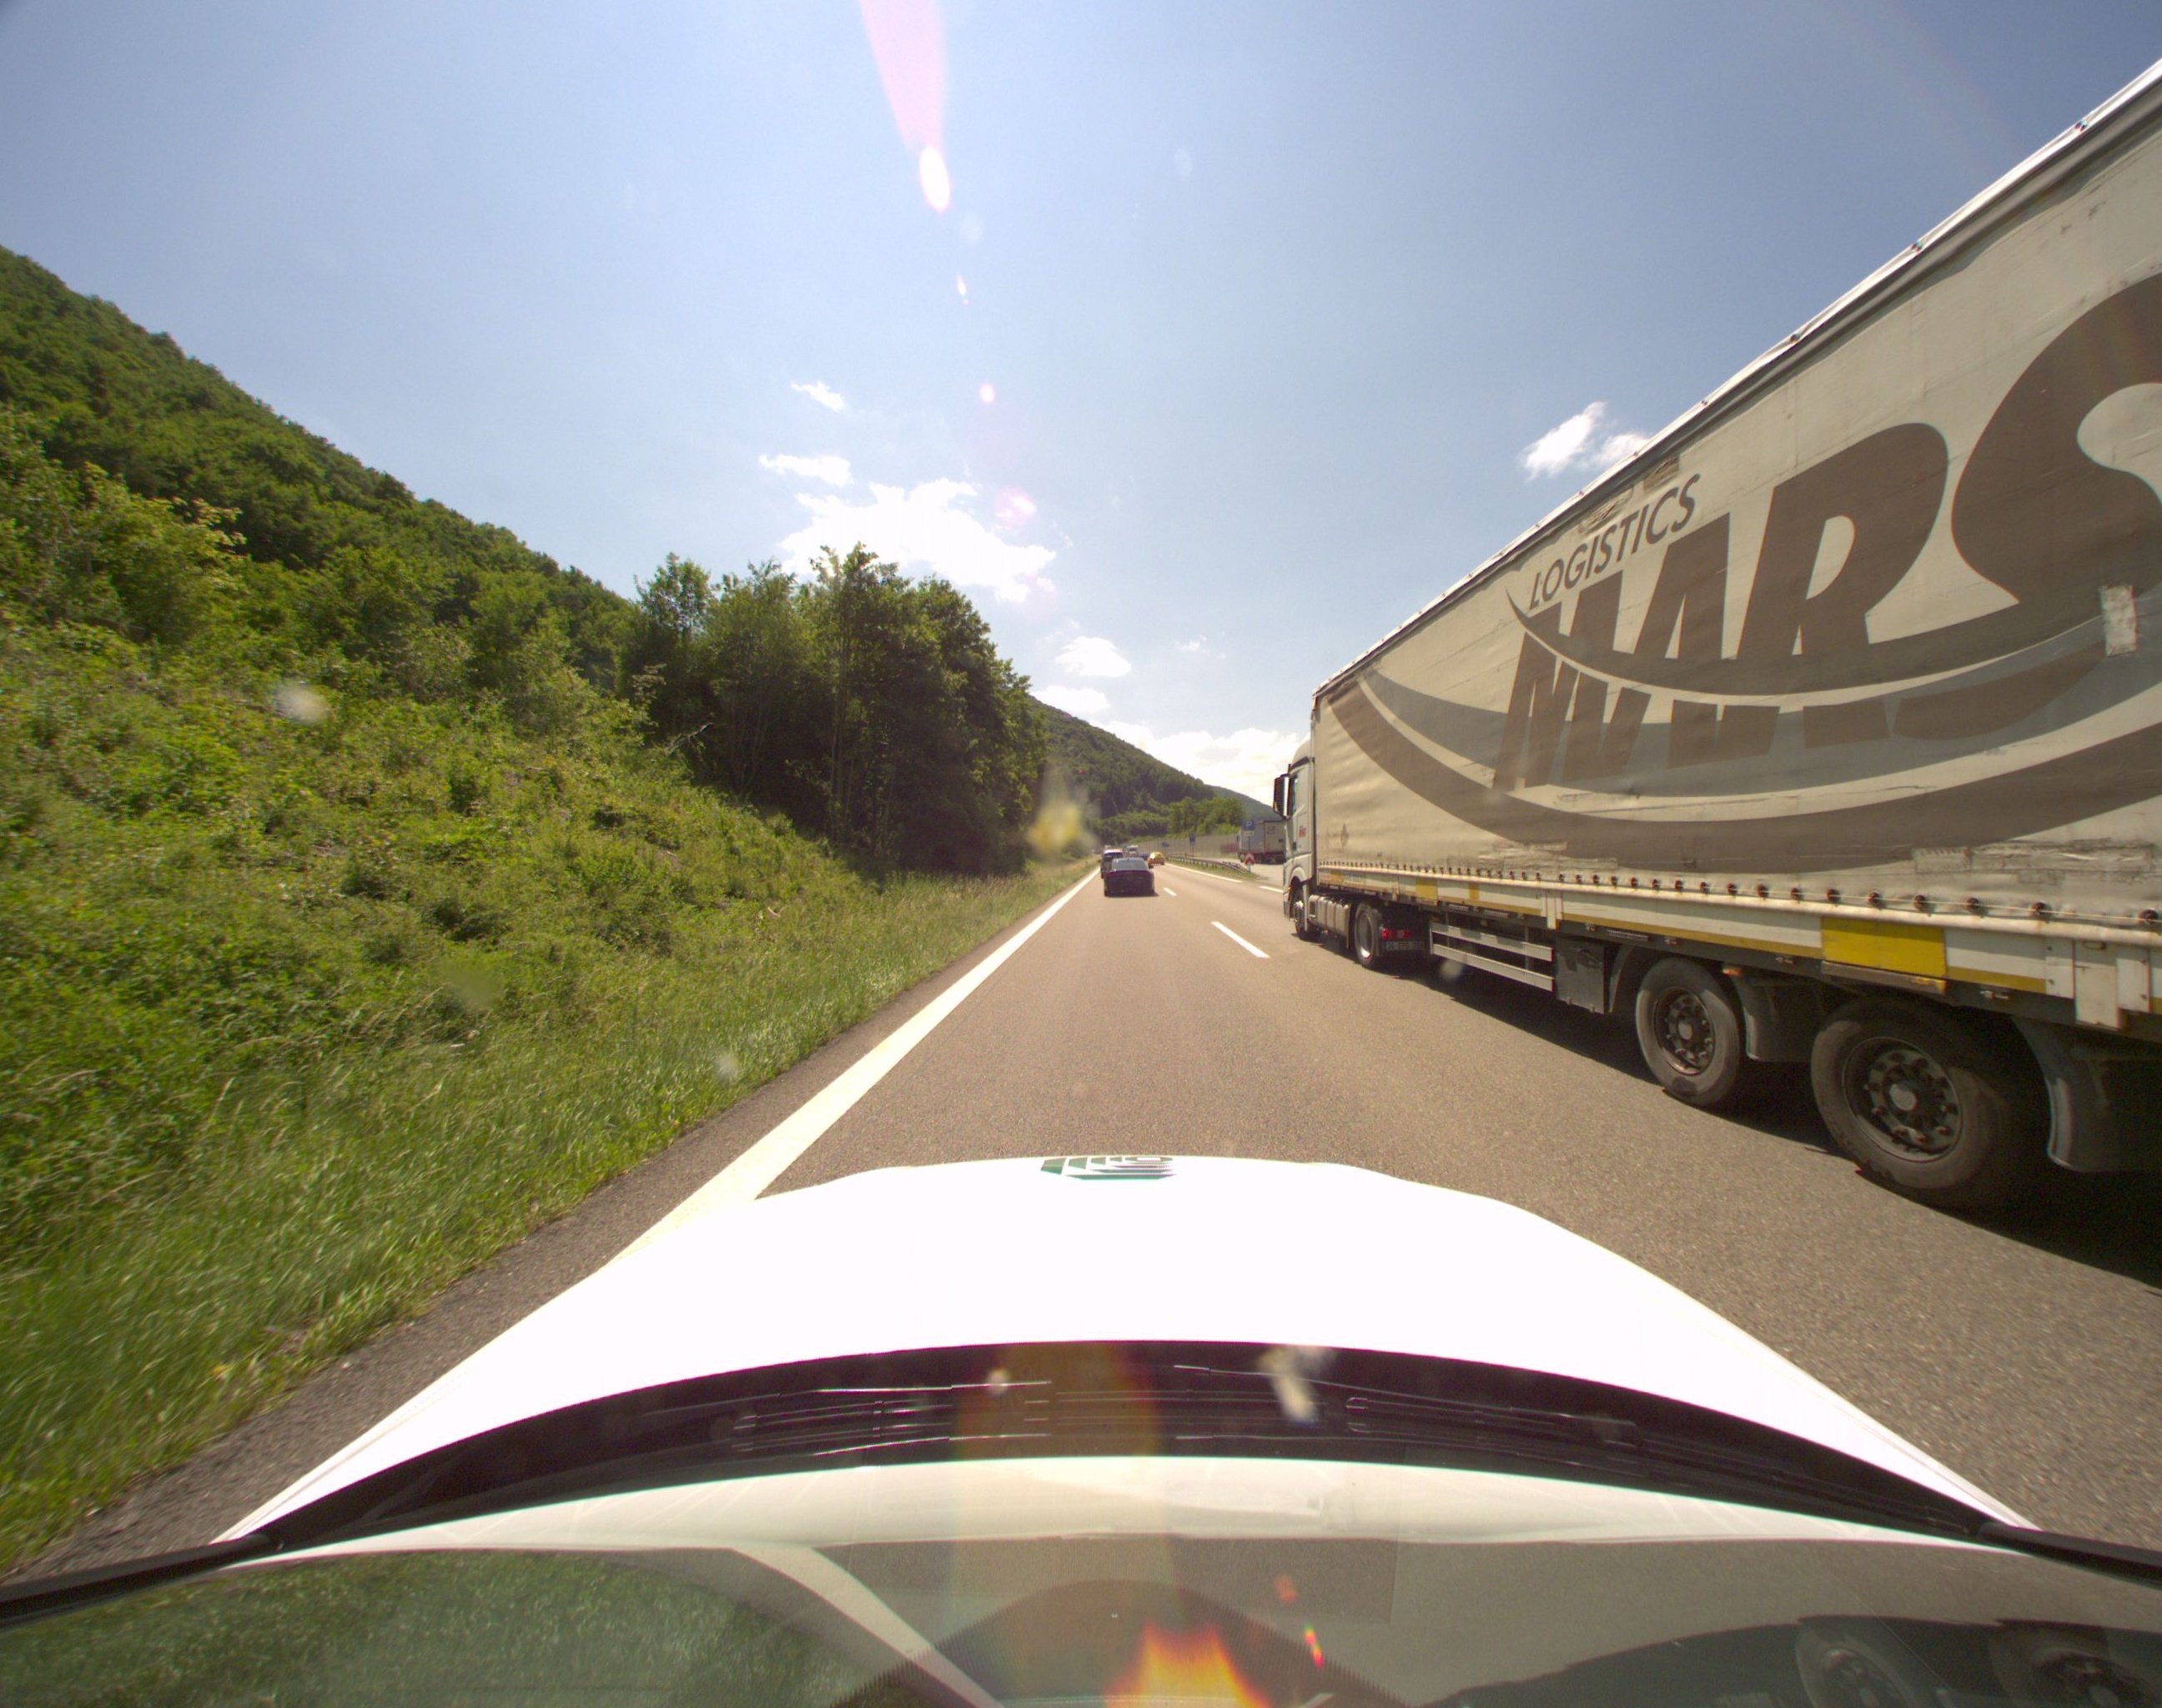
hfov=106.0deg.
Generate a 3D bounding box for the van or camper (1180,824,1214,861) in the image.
[{"bbox_3d":[12.522,-1.192,88.297,2.785,3.841,6.166,1,-1,0],"label":"van or camper"}]

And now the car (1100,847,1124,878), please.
[{"bbox_3d":[2.052,0.563,54.463,1.515,1.968,3.516,1,0,2],"label":"car"}]

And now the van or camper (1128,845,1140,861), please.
[{"bbox_3d":[11.166,-0.207,172.724,2.420,3.155,5.206,1,-1,2],"label":"van or camper"}]

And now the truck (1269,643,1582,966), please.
[{"bbox_3d":[4.990,-0.589,13.109,2.709,4.068,5.755,0,-1,1],"label":"truck"}]

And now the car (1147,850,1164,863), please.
[{"bbox_3d":[8.655,0.309,94.716,1.871,1.499,4.003,-1,0,3],"label":"car"}]

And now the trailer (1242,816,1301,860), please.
[{"bbox_3d":[18.199,-1.414,78.737,3.398,3.900,11.156,-1,0,2],"label":"trailer"}]

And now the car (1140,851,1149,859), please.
[{"bbox_3d":[16.124,0.154,206.191,1.986,2.013,4.001,-1,0,1],"label":"car"}]

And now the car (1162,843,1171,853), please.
[{"bbox_3d":[17.639,-1.194,167.678,1.570,2.013,3.430,-1,0,3],"label":"car"}]

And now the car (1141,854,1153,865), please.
[{"bbox_3d":[9.585,0.838,118.499,1.524,1.525,3.599,1,-1,2],"label":"car"}]

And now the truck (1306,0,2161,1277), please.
[{"bbox_3d":[4.806,-0.676,6.229,2.716,4.068,13.744,0,-1,1],"label":"truck"}]

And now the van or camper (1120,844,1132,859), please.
[{"bbox_3d":[12.111,-0.742,218.535,2.785,3.907,6.166,1,-1,0],"label":"van or camper"}]

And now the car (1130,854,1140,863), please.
[{"bbox_3d":[9.346,0.789,141.477,1.524,1.525,3.599,1,-1,2],"label":"car"}]

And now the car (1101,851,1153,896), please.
[{"bbox_3d":[1.745,0.691,30.950,1.805,1.514,3.517,-3,0,3],"label":"car"}]

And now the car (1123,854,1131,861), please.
[{"bbox_3d":[11.249,0.892,200.061,1.986,1.794,4.001,1,-1,2],"label":"car"}]

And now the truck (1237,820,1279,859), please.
[{"bbox_3d":[18.446,-1.444,85.309,3.399,3.900,5.390,-1,0,2],"label":"truck"}]
